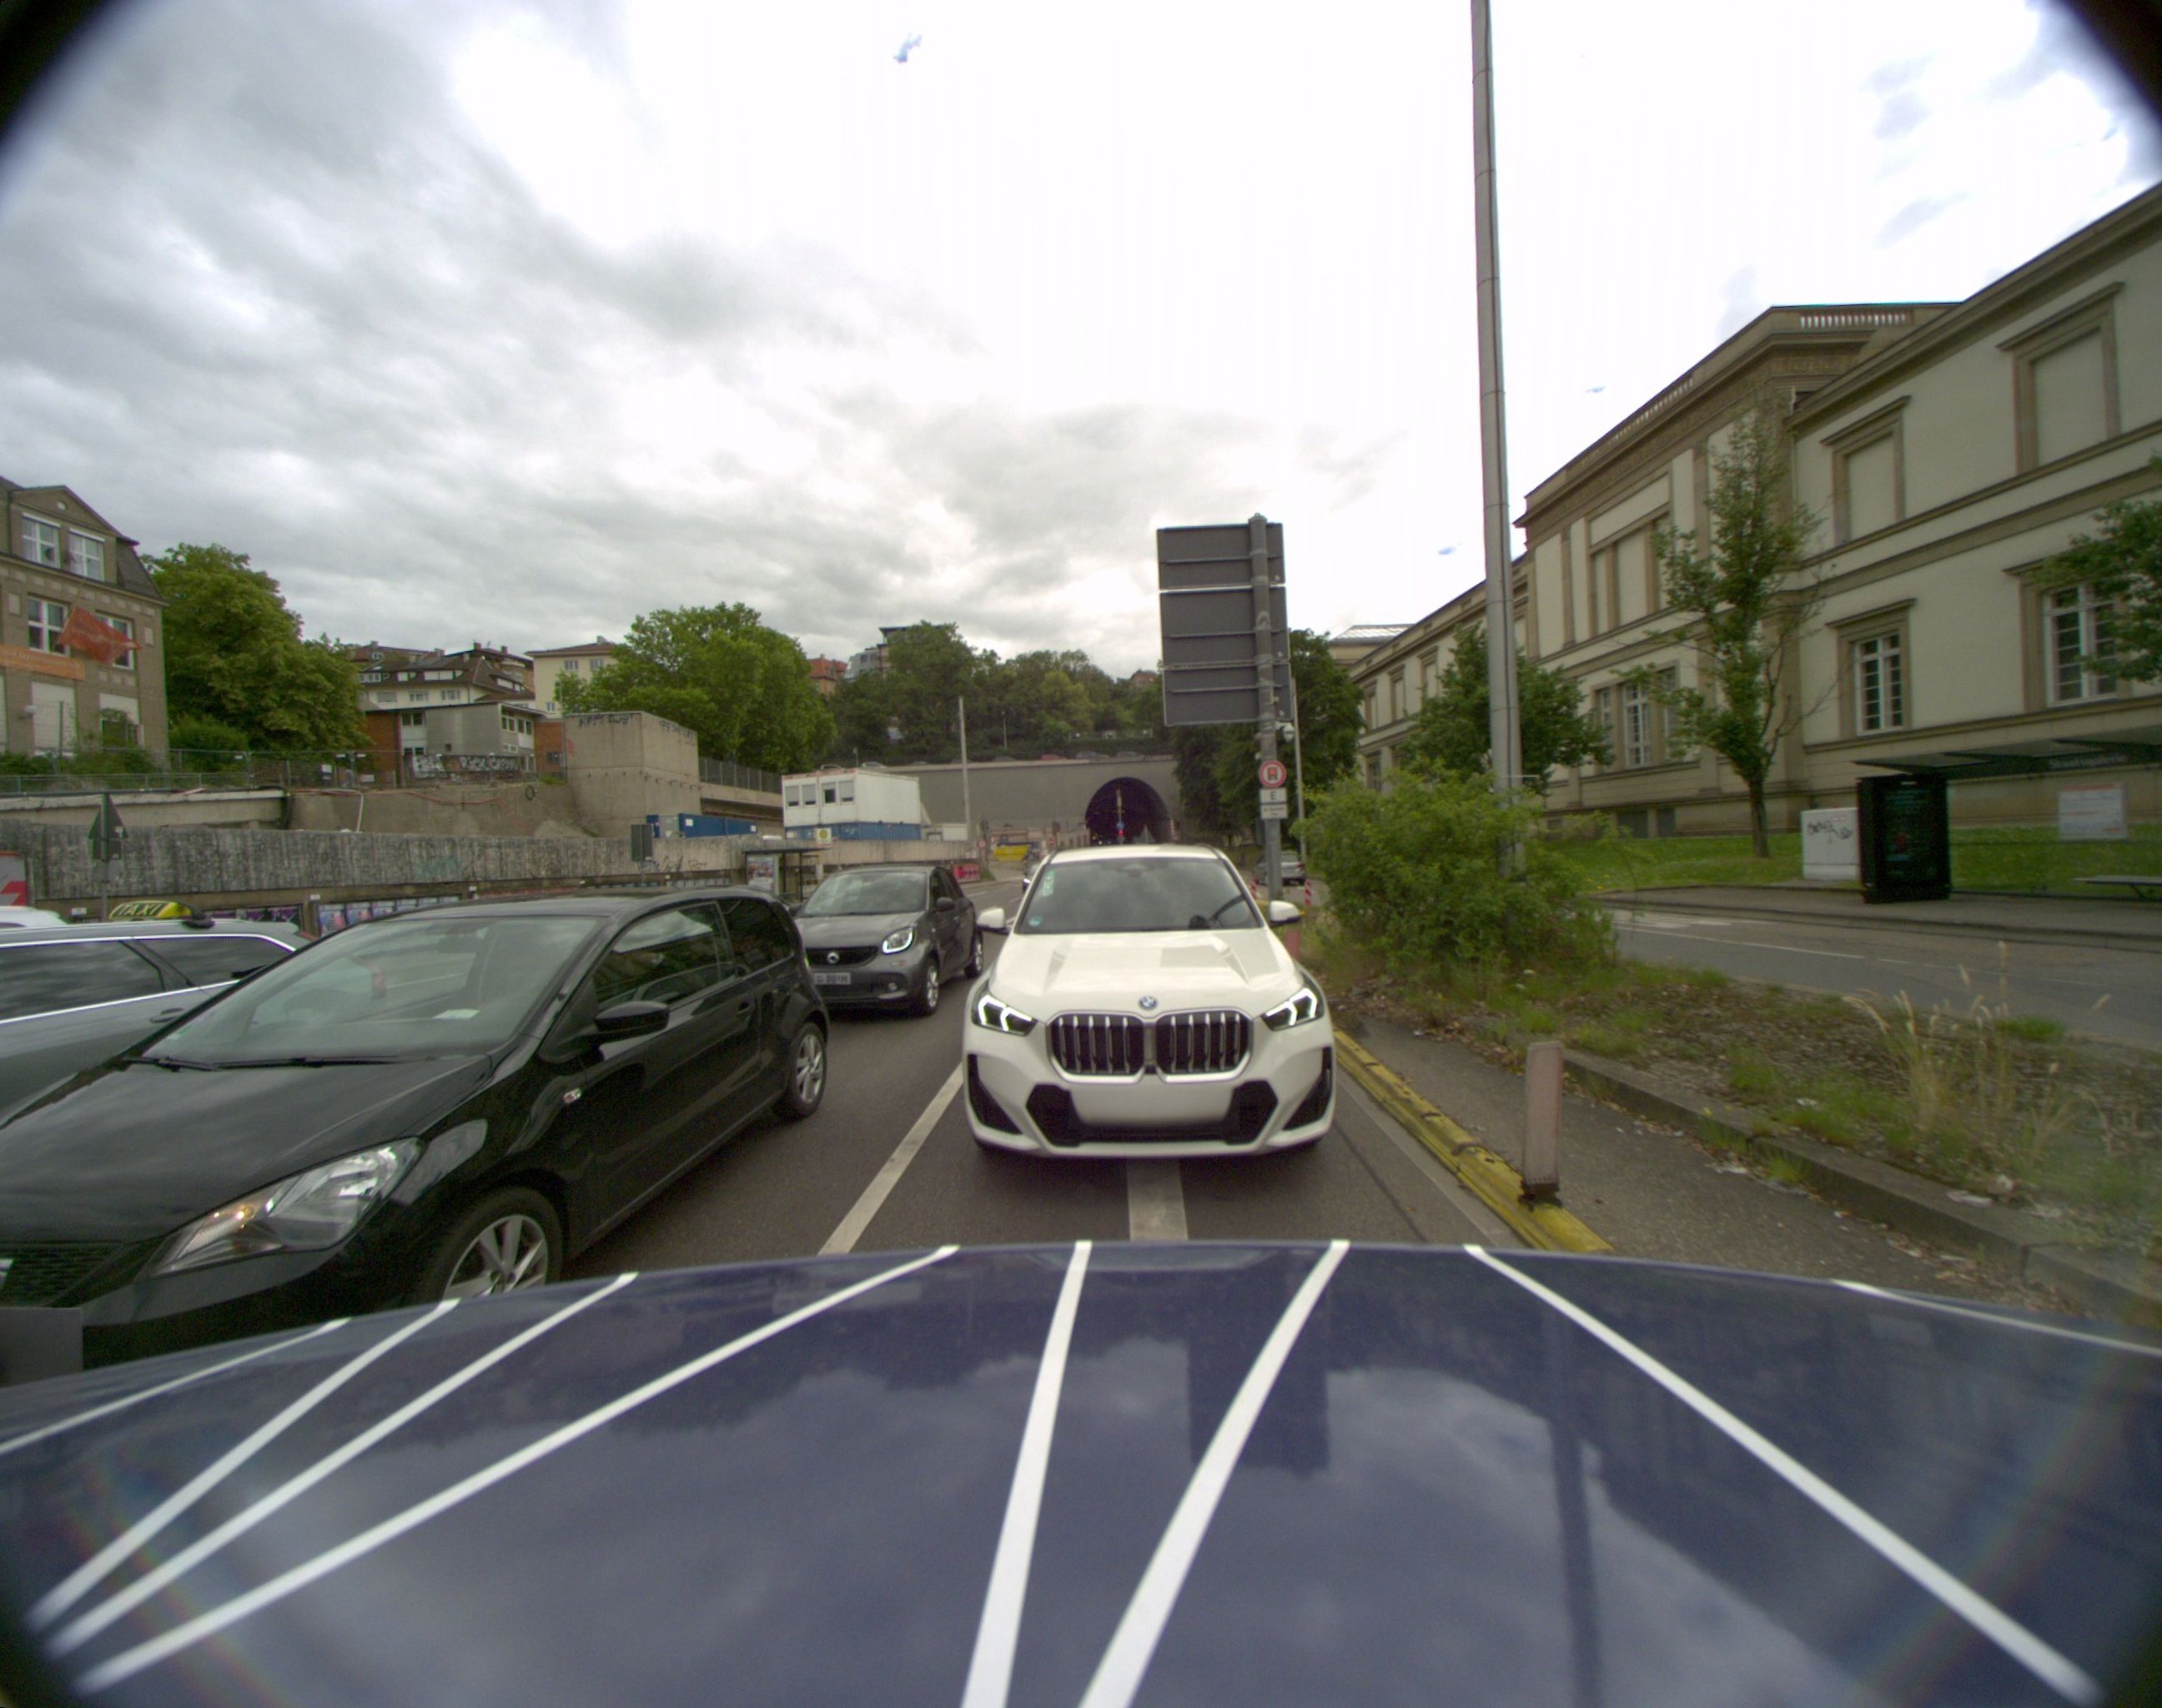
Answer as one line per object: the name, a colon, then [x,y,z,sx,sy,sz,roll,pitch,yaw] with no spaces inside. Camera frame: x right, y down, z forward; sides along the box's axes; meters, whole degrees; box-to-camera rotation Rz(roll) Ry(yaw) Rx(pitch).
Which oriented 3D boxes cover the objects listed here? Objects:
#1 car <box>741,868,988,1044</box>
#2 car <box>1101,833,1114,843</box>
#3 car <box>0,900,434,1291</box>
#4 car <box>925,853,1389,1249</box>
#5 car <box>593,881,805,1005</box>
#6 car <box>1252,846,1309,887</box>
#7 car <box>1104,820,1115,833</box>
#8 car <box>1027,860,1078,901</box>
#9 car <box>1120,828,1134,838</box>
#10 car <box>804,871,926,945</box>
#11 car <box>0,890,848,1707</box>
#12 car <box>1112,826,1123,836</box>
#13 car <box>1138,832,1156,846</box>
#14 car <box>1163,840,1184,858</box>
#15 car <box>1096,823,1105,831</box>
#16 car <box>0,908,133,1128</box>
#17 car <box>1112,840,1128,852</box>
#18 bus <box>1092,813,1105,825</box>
car: [-2.250,0.987,8.905,1.720,1.535,3.575,-2,0,2]
car: [3.734,-2.210,107.154,1.680,1.358,3.806,-2,1,1]
car: [-5.853,1.214,3.317,1.829,1.615,4.808,-2,1,1]
car: [0.269,0.852,5.164,1.988,1.615,3.669,-2,1,-3]
car: [-5.450,1.205,11.208,1.665,1.423,2.714,-2,1,1]
car: [9.152,0.521,35.202,1.836,1.736,4.001,-2,1,5]
car: [5.814,-5.655,155.458,2.203,2.493,4.758,-2,1,2]
car: [-1.107,1.039,31.092,1.680,1.450,3.807,-2,1,3]
car: [7.033,-3.234,116.436,1.646,1.469,3.574,-2,0,-2]
car: [-4.914,1.173,17.826,1.680,1.358,3.806,-2,1,1]
car: [-2.568,1.024,3.356,1.829,1.450,3.700,-2,1,1]
car: [6.414,-3.967,133.472,1.778,1.609,3.802,-2,1,-1]
car: [8.450,-1.874,97.776,1.875,1.681,4.267,-2,1,0]
car: [8.868,-0.445,73.299,1.902,1.615,4.109,-2,0,6]
car: [4.760,-6.382,182.265,1.946,1.714,4.000,-2,1,4]
car: [-9.103,1.327,4.459,1.680,1.615,4.209,-2,1,1]
car: [4.629,-0.989,89.978,1.680,1.358,3.806,-2,1,1]
bus: [4.904,-9.749,212.077,3.171,3.129,9.118,-2,1,-1]
